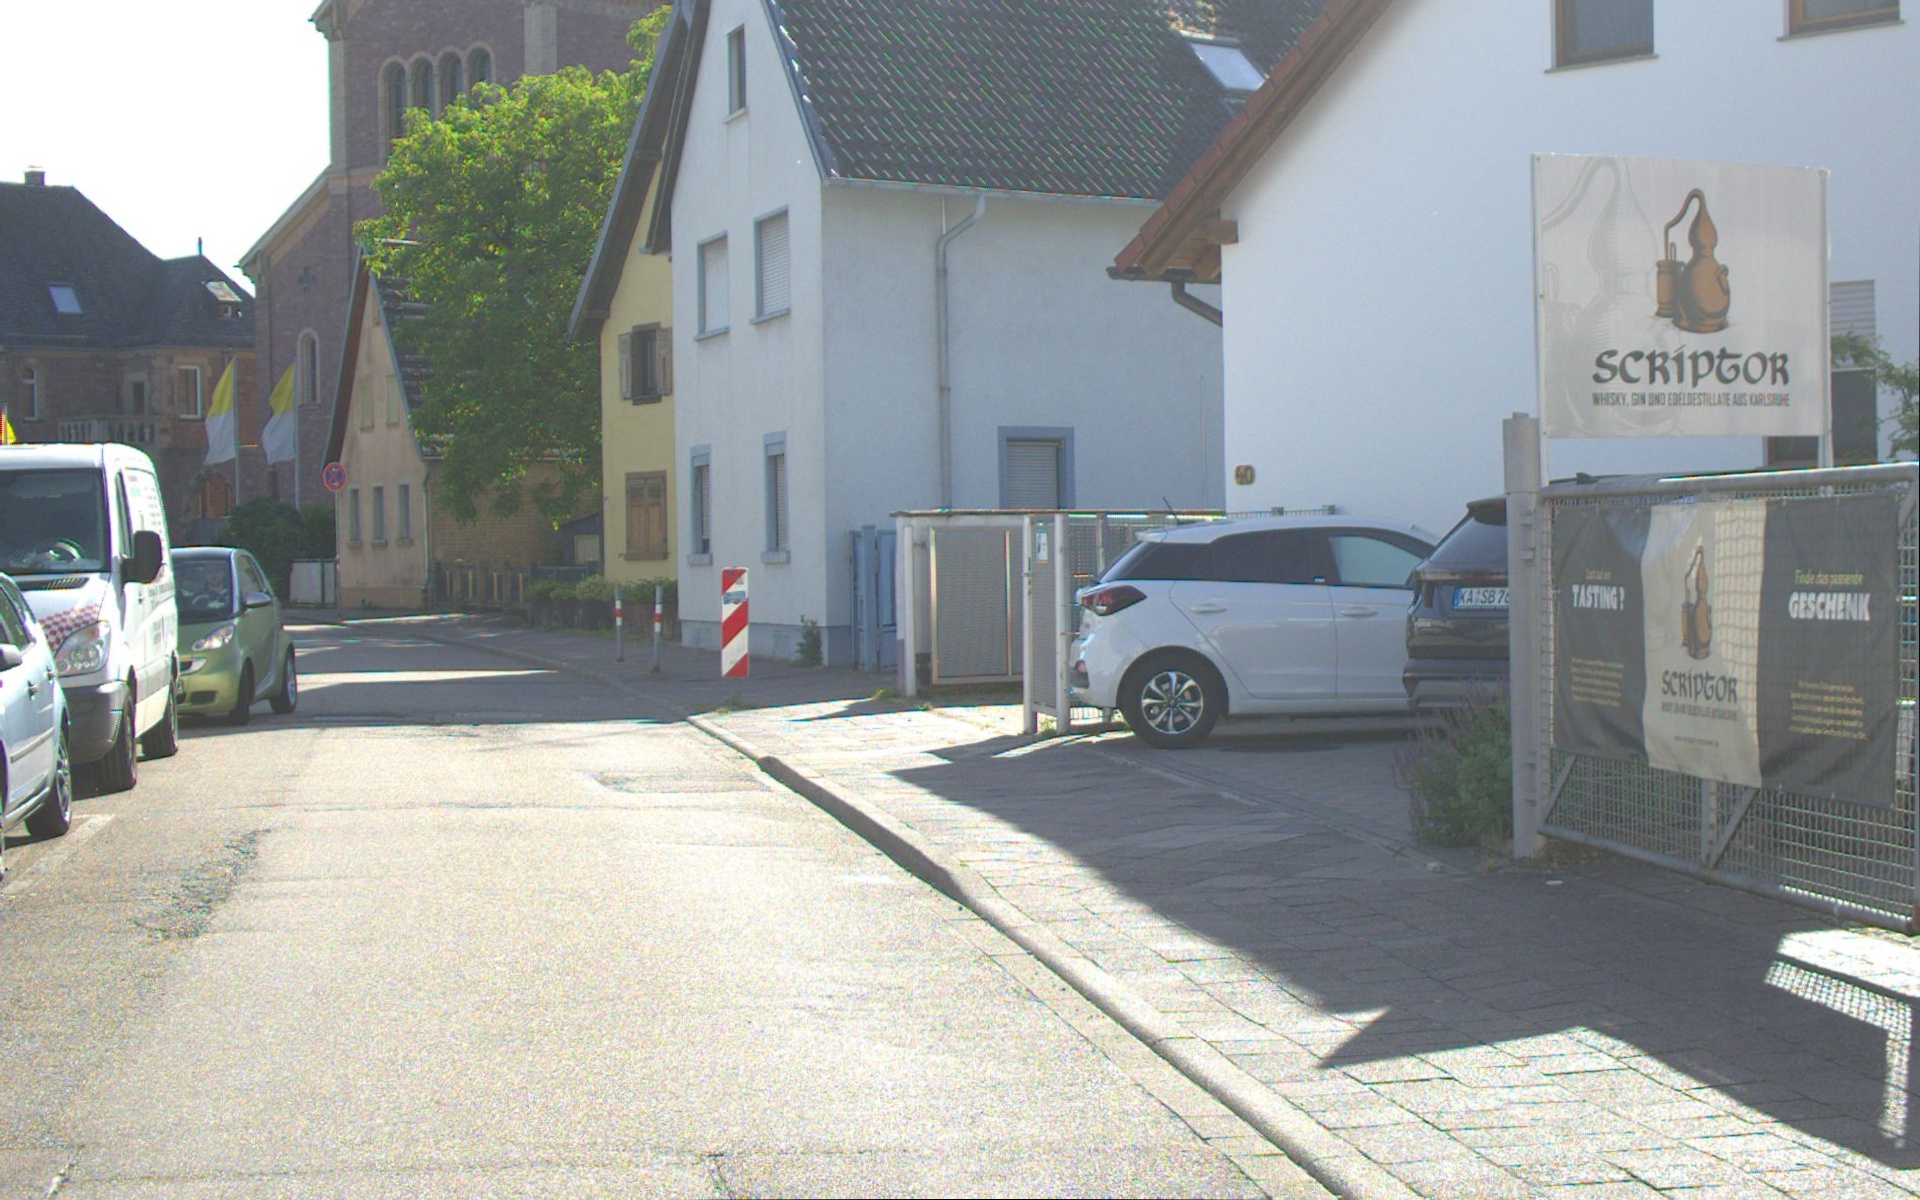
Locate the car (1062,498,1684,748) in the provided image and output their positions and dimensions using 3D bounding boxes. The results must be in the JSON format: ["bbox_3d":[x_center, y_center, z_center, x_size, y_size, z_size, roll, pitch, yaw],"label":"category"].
[{"bbox_3d":[2.673,0.131,22.969,3.912,1.487,1.847,-2,1,1],"label":"car"}]

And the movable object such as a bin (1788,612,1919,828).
[{"bbox_3d":[3.963,0.518,15.045,0.515,0.920,0.423,1,0,-37],"label":"movable object such as a bin"}]

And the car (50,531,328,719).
[{"bbox_3d":[-6.749,0.179,30.344,1.574,1.541,2.965,-1,1,4],"label":"car"}]

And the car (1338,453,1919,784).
[{"bbox_3d":[4.340,0.029,19.775,4.037,1.682,1.911,-3,2,-36],"label":"car"}]

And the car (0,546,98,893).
[{"bbox_3d":[-5.338,0.523,16.791,1.711,1.499,4.236,-2,1,-8],"label":"car"}]

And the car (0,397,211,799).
[{"bbox_3d":[-6.539,-0.034,23.573,2.196,2.381,6.066,-3,1,-8],"label":"car"}]

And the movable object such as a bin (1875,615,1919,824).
[{"bbox_3d":[4.429,0.531,15.356,0.515,0.920,0.423,1,0,-37],"label":"movable object such as a bin"}]
